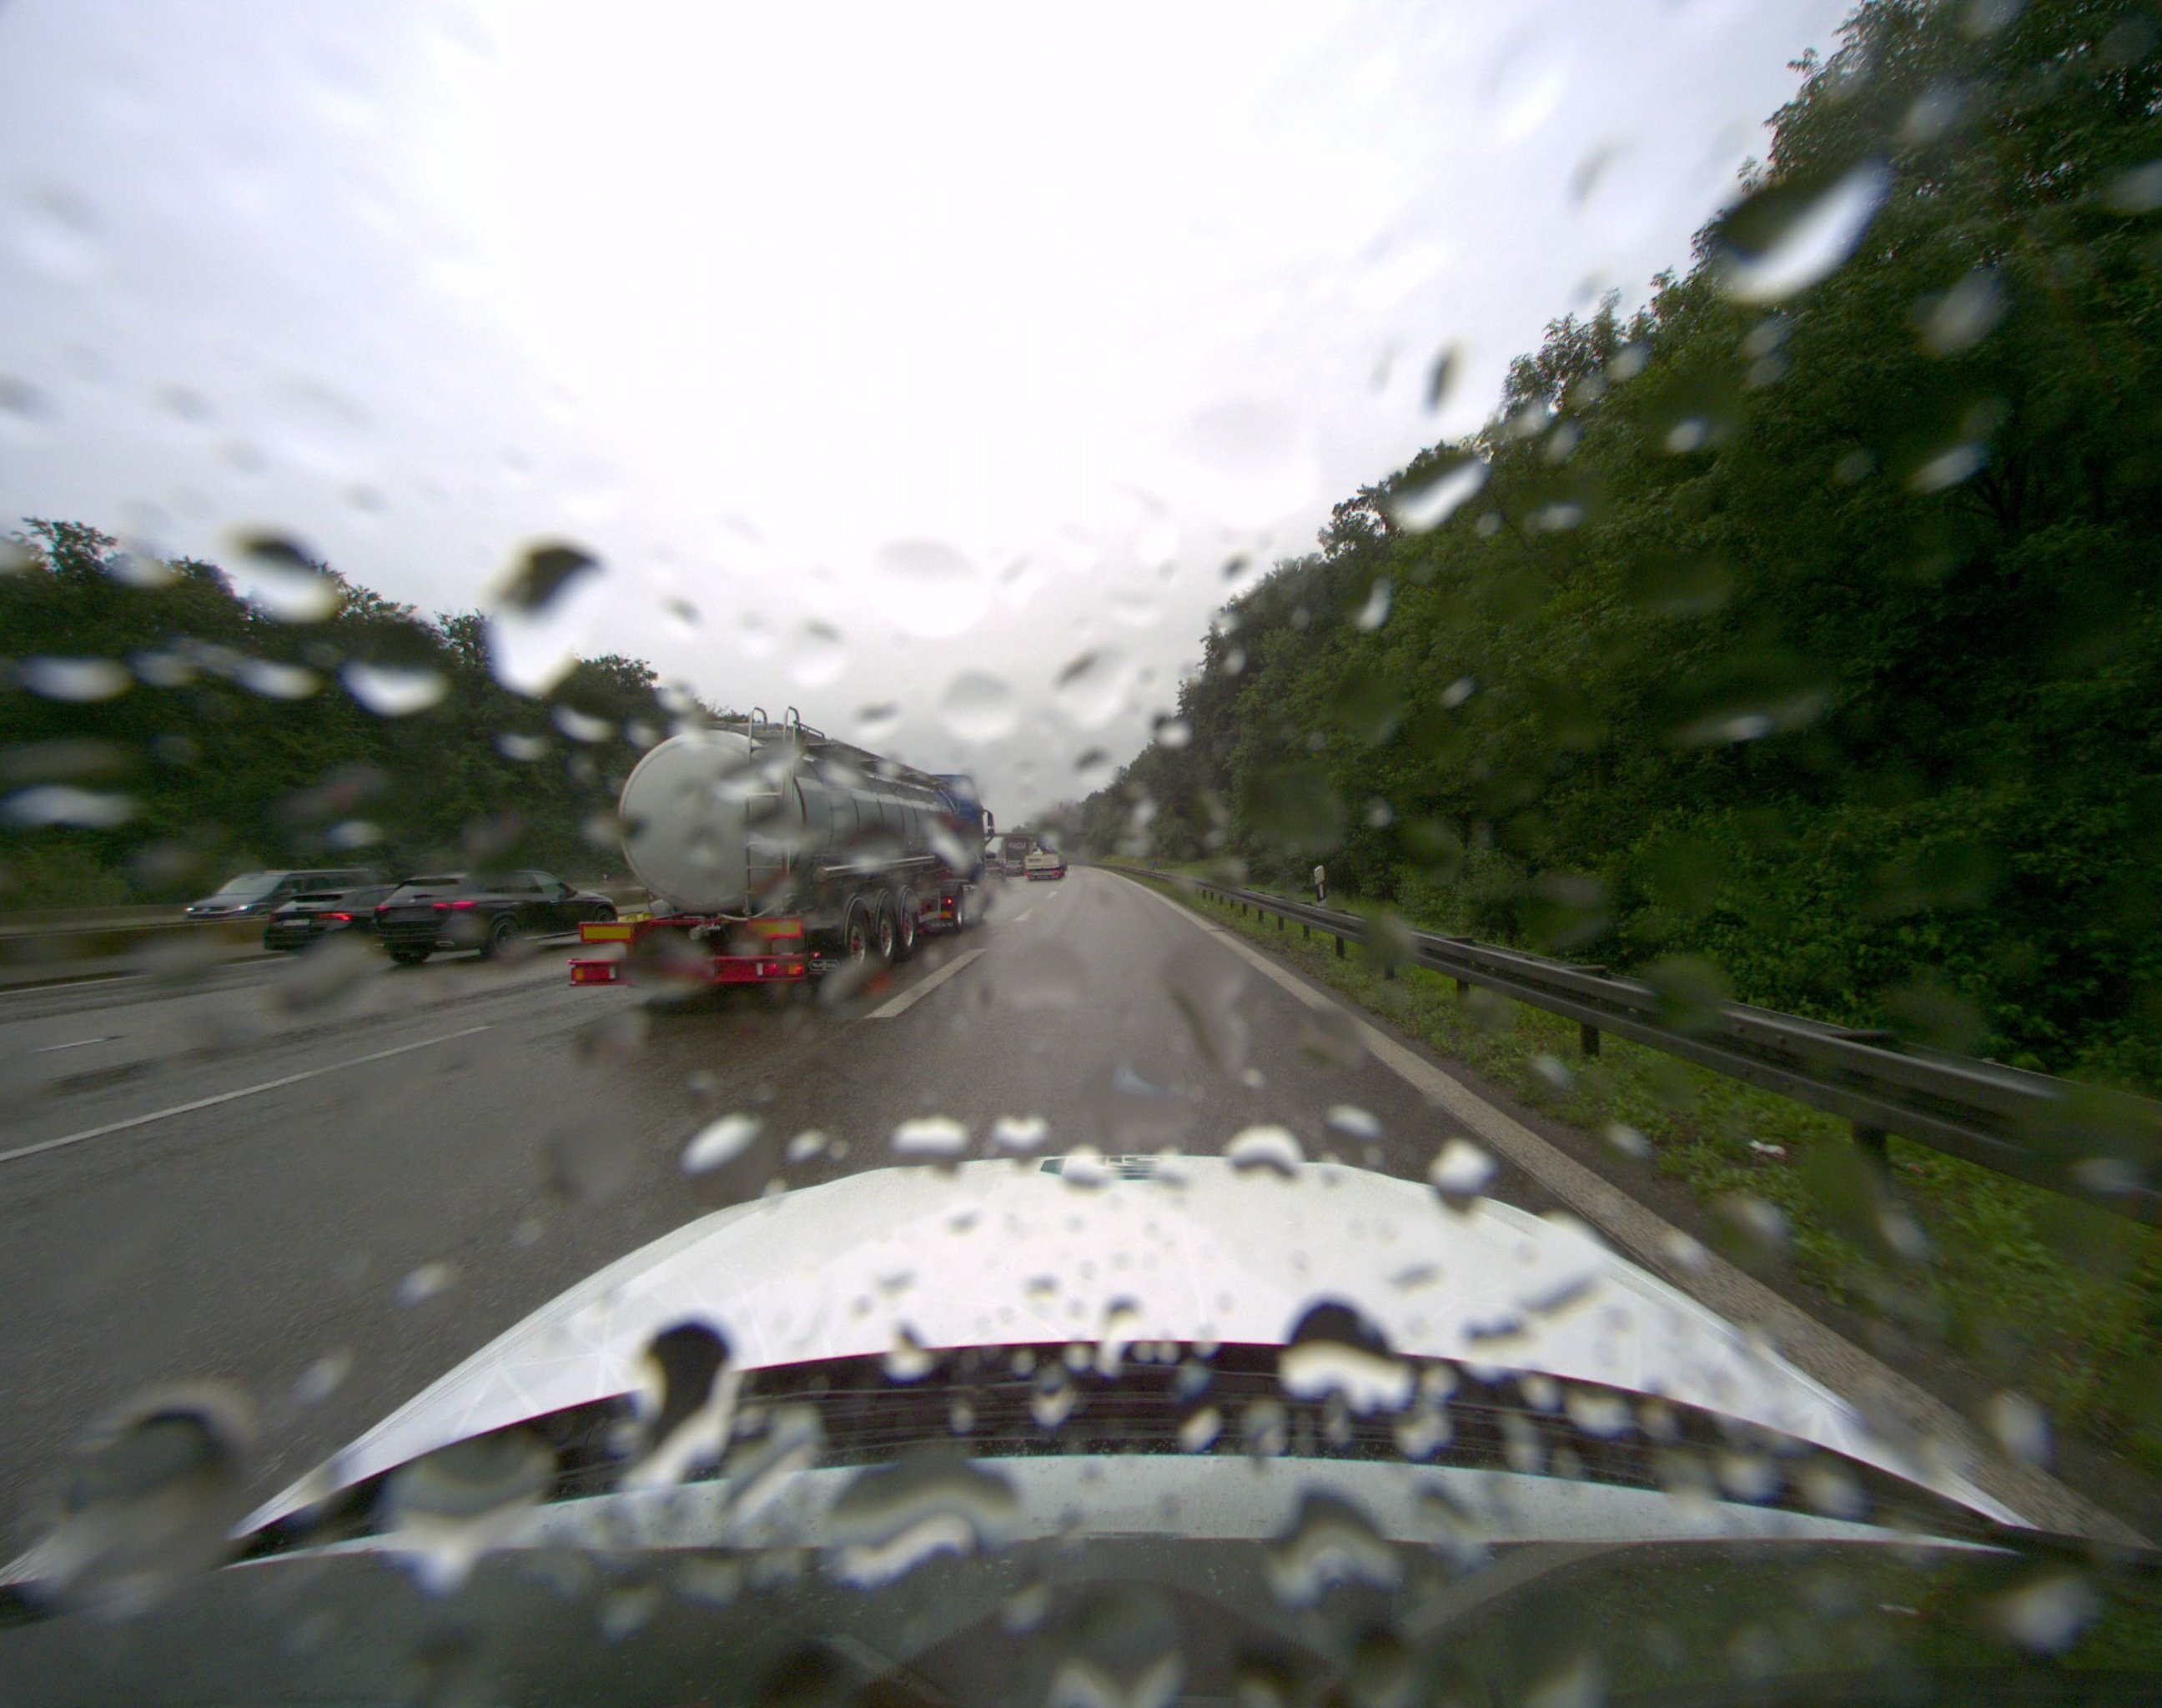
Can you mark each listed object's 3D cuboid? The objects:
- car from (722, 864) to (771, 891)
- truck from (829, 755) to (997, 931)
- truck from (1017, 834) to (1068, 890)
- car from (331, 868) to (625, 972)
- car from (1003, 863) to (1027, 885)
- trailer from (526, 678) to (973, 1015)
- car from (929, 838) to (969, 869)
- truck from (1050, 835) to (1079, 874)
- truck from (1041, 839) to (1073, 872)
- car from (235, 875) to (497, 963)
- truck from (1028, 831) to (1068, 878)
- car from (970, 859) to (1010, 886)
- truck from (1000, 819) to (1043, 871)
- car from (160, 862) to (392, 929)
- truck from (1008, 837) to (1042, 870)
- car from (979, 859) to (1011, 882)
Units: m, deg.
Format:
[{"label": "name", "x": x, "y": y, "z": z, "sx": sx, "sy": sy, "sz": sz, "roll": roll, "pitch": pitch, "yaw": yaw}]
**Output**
[{"label": "car", "x": -25.732, "y": 1.802, "z": 62.796, "sx": 1.949, "sy": 1.926, "sz": 4.001, "roll": -2, "pitch": 0, "yaw": 1}, {"label": "truck", "x": -3.847, "y": -0.231, "z": 19.923, "sx": 2.866, "sy": 3.693, "sz": 5.057, "roll": -1, "pitch": 0, "yaw": 1}, {"label": "truck", "x": -2.934, "y": 0.633, "z": 66.359, "sx": 3.589, "sy": 4.105, "sz": 11.556, "roll": -2, "pitch": 0, "yaw": 0}, {"label": "car", "x": -11.247, "y": 1.117, "z": 15.770, "sx": 1.986, "sy": 1.594, "sz": 4.809, "roll": -2, "pitch": 0, "yaw": 1}, {"label": "car", "x": -6.458, "y": 1.965, "z": 79.942, "sx": 1.786, "sy": 2.014, "sz": 4.001, "roll": 2, "pitch": -2, "yaw": 2}, {"label": "trailer", "x": -3.977, "y": -0.058, "z": 13.154, "sx": 2.863, "sy": 3.289, "sz": 10.079, "roll": -1, "pitch": 0, "yaw": 1}, {"label": "car", "x": -8.588, "y": 0.024, "z": 53.285, "sx": 1.790, "sy": 1.838, "sz": 4.001, "roll": 2, "pitch": -2, "yaw": 2}, {"label": "truck", "x": -2.597, "y": 0.122, "z": 130.294, "sx": 4.323, "sy": 5.764, "sz": 9.725, "roll": 2, "pitch": -2, "yaw": -1}, {"label": "truck", "x": -3.254, "y": 0.313, "z": 112.446, "sx": 3.741, "sy": 3.971, "sz": 11.059, "roll": 2, "pitch": -2, "yaw": 1}, {"label": "car", "x": -14.827, "y": 1.278, "z": 17.247, "sx": 1.875, "sy": 1.508, "sz": 4.002, "roll": -2, "pitch": 0, "yaw": 2}, {"label": "truck", "x": -3.226, "y": 0.181, "z": 82.095, "sx": 3.496, "sy": 4.268, "sz": 10.597, "roll": 2, "pitch": -2, "yaw": -1}, {"label": "car", "x": -5.737, "y": 1.201, "z": 51.880, "sx": 1.986, "sy": 1.636, "sz": 4.000, "roll": 2, "pitch": -2, "yaw": 1}, {"label": "truck", "x": -6.742, "y": -0.875, "z": 94.345, "sx": 3.740, "sy": 5.500, "sz": 10.174, "roll": 2, "pitch": -2, "yaw": 2}, {"label": "car", "x": -25.702, "y": 1.314, "z": 26.392, "sx": 2.044, "sy": 1.878, "sz": 5.249, "roll": 2, "pitch": -2, "yaw": 2}, {"label": "truck", "x": -7.496, "y": 0.094, "z": 111.465, "sx": 3.563, "sy": 4.096, "sz": 10.880, "roll": -1, "pitch": -2, "yaw": 1}, {"label": "car", "x": -6.537, "y": 1.242, "z": 62.255, "sx": 1.931, "sy": 1.662, "sz": 4.001, "roll": -2, "pitch": 0, "yaw": 1}]
